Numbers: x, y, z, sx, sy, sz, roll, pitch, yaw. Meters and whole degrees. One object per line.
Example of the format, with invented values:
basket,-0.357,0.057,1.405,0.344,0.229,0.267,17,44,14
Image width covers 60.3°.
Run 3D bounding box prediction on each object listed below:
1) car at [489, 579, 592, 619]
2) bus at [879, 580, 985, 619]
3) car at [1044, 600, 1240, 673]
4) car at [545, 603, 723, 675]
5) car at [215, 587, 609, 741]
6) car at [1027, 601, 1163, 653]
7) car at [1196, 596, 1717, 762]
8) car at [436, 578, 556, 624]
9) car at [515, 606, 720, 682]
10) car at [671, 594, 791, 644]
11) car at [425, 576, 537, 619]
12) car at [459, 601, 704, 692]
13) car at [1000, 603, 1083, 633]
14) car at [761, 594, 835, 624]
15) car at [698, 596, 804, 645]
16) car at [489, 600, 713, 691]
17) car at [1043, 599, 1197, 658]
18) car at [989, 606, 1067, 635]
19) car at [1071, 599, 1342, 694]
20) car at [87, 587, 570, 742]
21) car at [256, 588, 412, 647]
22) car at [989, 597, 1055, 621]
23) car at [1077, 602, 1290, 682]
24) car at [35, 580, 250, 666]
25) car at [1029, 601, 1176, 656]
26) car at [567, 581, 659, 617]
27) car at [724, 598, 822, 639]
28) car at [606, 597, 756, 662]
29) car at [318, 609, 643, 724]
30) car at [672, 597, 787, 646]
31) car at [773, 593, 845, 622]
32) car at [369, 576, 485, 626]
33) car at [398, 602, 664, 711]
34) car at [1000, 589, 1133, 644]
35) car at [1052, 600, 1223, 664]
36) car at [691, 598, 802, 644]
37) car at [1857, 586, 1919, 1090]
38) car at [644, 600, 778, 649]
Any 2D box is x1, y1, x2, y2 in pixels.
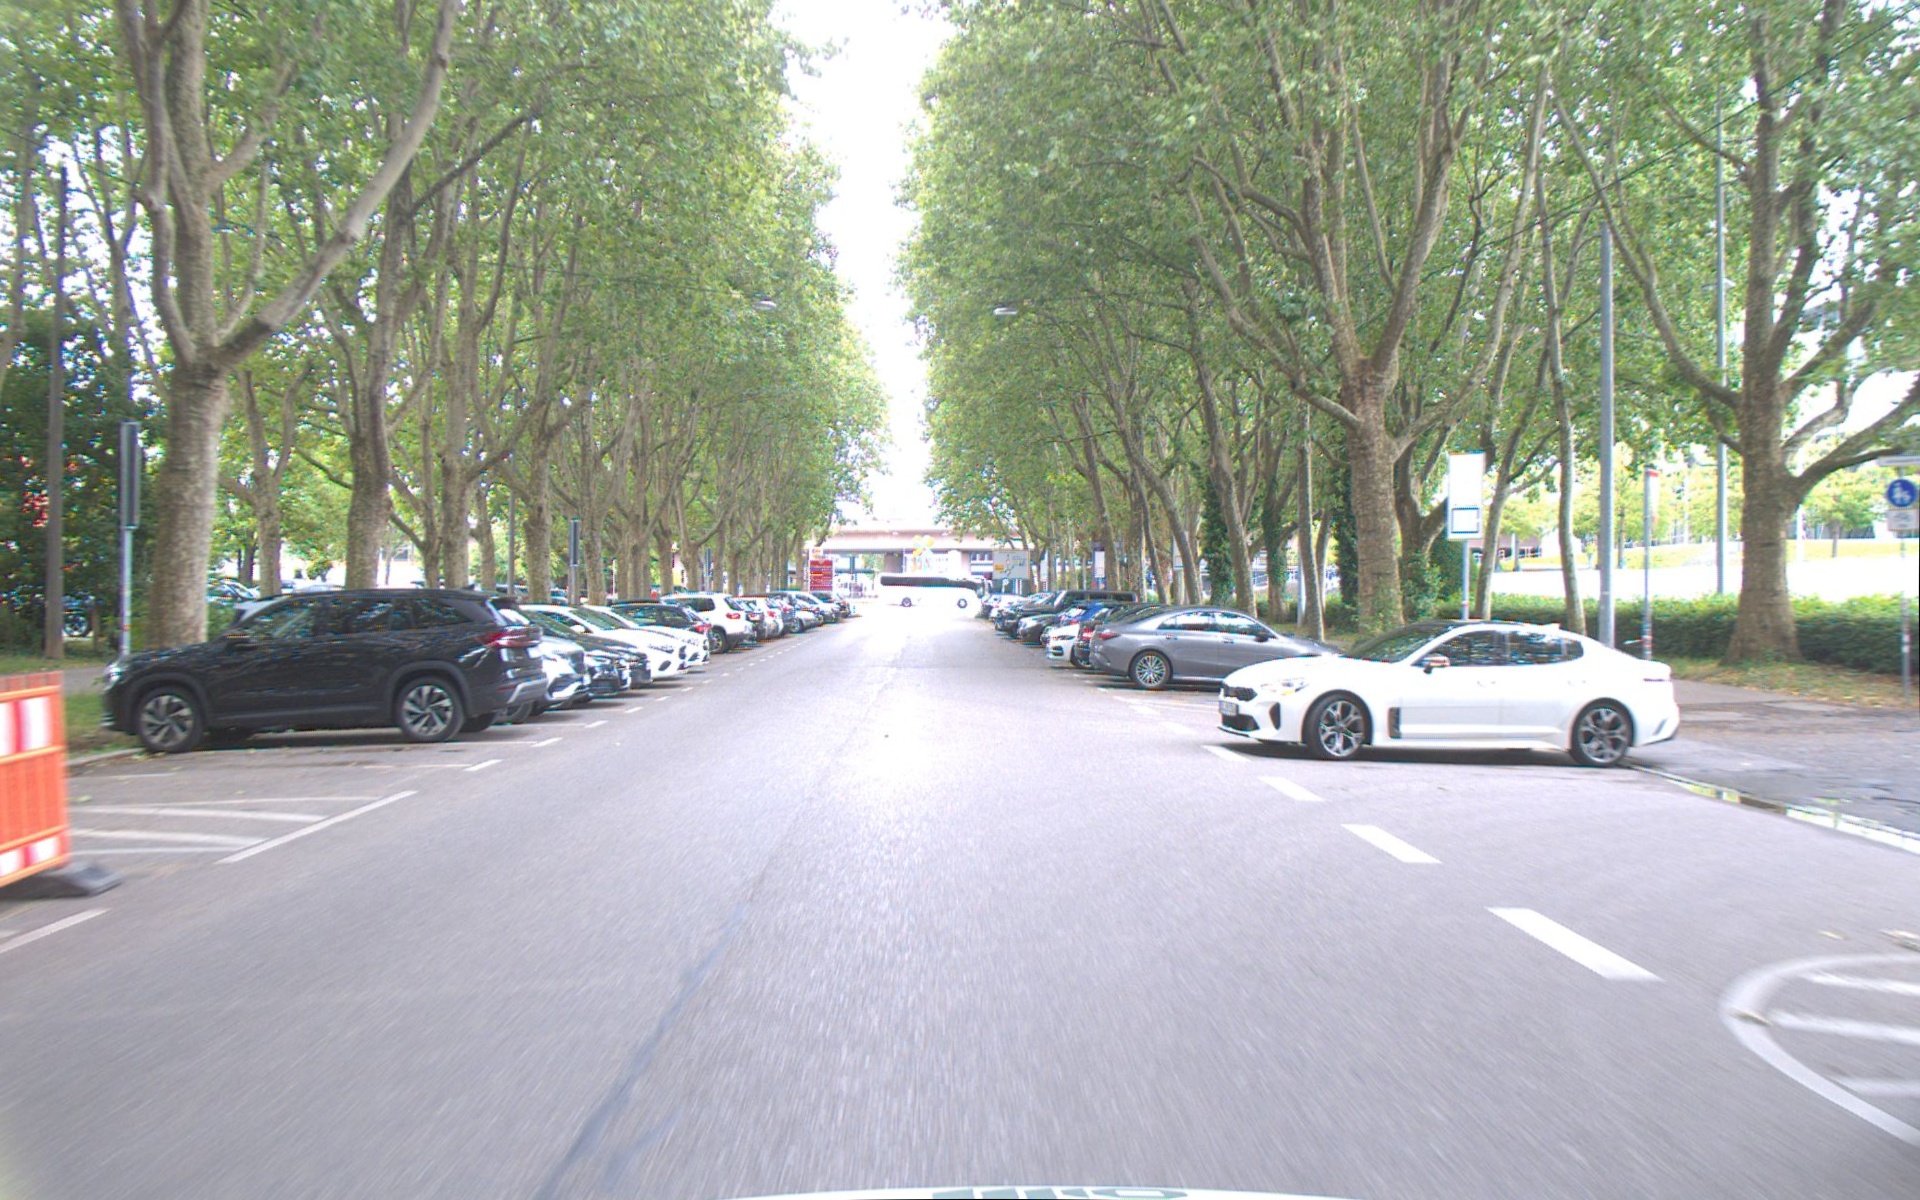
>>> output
car,-22.929,-0.042,90.508,4.972,2.050,2.176,1,0,2
bus,-2.981,-0.063,178.555,11.333,4.040,2.455,-1,-1,2
car,3.895,0.763,35.779,4.088,1.467,1.732,1,0,3
car,-7.593,0.903,38.698,3.734,1.510,1.663,-2,0,4
car,-6.860,0.774,21.053,4.383,1.706,1.761,-2,0,-3
car,4.123,0.822,51.036,3.968,1.494,1.730,1,0,-4
car,5.134,0.801,17.351,4.845,1.427,1.994,3,0,-12
car,-21.929,0.050,78.297,4.972,2.050,2.176,1,0,2
car,-6.925,0.878,33.686,3.734,1.354,1.663,-2,0,4
car,-7.774,0.630,56.265,3.734,1.542,1.687,-2,0,4
car,-24.184,-0.128,83.582,4.972,2.050,2.176,1,0,2
car,-6.469,0.787,28.484,3.734,1.377,1.663,-2,0,4
car,4.374,0.961,88.884,4.290,1.549,1.730,1,0,-4
car,-8.617,0.453,88.349,3.734,1.542,1.686,1,0,2
car,-8.018,0.768,63.614,3.734,1.719,1.687,-2,0,4
car,-6.656,0.835,30.921,3.734,1.510,1.663,-2,0,3
car,4.344,0.767,45.278,3.968,1.494,1.730,1,0,-4
car,3.789,1.144,92.835,4.287,1.549,1.731,1,0,-1
car,4.181,0.771,28.679,4.478,1.512,2.001,1,0,3
car,-6.868,0.667,18.417,4.571,1.452,1.999,-2,0,-3
car,-23.488,0.629,62.143,4.972,2.050,2.176,1,0,2
car,4.118,0.598,110.176,4.287,1.549,1.731,1,0,-1
car,4.411,0.818,33.111,4.088,1.467,1.732,1,0,3
car,-23.090,0.620,46.867,4.972,2.271,2.176,1,0,2
car,4.055,0.800,47.496,3.968,1.494,1.730,1,0,-4
car,-20.648,-0.068,98.505,4.972,2.050,2.176,1,0,2
car,-7.764,0.749,68.875,3.734,1.542,1.687,-2,0,4
car,-7.714,0.808,45.936,3.734,1.630,1.787,-2,0,4
car,-6.737,0.915,23.591,4.084,1.405,1.870,-2,0,-3
car,-8.144,0.752,58.635,3.734,1.542,1.687,-2,0,4
car,-8.267,0.386,90.607,3.734,1.542,1.686,1,0,2
car,-23.187,0.028,72.060,4.261,2.050,2.176,1,0,2
car,-6.678,0.855,26.024,3.738,1.510,1.661,-2,0,-3
car,3.589,0.559,56.039,4.290,1.782,1.730,1,0,-4
car,4.331,0.765,40.696,4.088,1.467,1.732,1,0,3
car,-7.836,0.756,60.910,3.734,1.542,1.687,-2,0,4
car,5.146,0.793,4.322,4.566,1.477,1.925,2,0,-3
car,-7.659,0.743,51.083,3.734,1.319,1.787,-2,0,4
